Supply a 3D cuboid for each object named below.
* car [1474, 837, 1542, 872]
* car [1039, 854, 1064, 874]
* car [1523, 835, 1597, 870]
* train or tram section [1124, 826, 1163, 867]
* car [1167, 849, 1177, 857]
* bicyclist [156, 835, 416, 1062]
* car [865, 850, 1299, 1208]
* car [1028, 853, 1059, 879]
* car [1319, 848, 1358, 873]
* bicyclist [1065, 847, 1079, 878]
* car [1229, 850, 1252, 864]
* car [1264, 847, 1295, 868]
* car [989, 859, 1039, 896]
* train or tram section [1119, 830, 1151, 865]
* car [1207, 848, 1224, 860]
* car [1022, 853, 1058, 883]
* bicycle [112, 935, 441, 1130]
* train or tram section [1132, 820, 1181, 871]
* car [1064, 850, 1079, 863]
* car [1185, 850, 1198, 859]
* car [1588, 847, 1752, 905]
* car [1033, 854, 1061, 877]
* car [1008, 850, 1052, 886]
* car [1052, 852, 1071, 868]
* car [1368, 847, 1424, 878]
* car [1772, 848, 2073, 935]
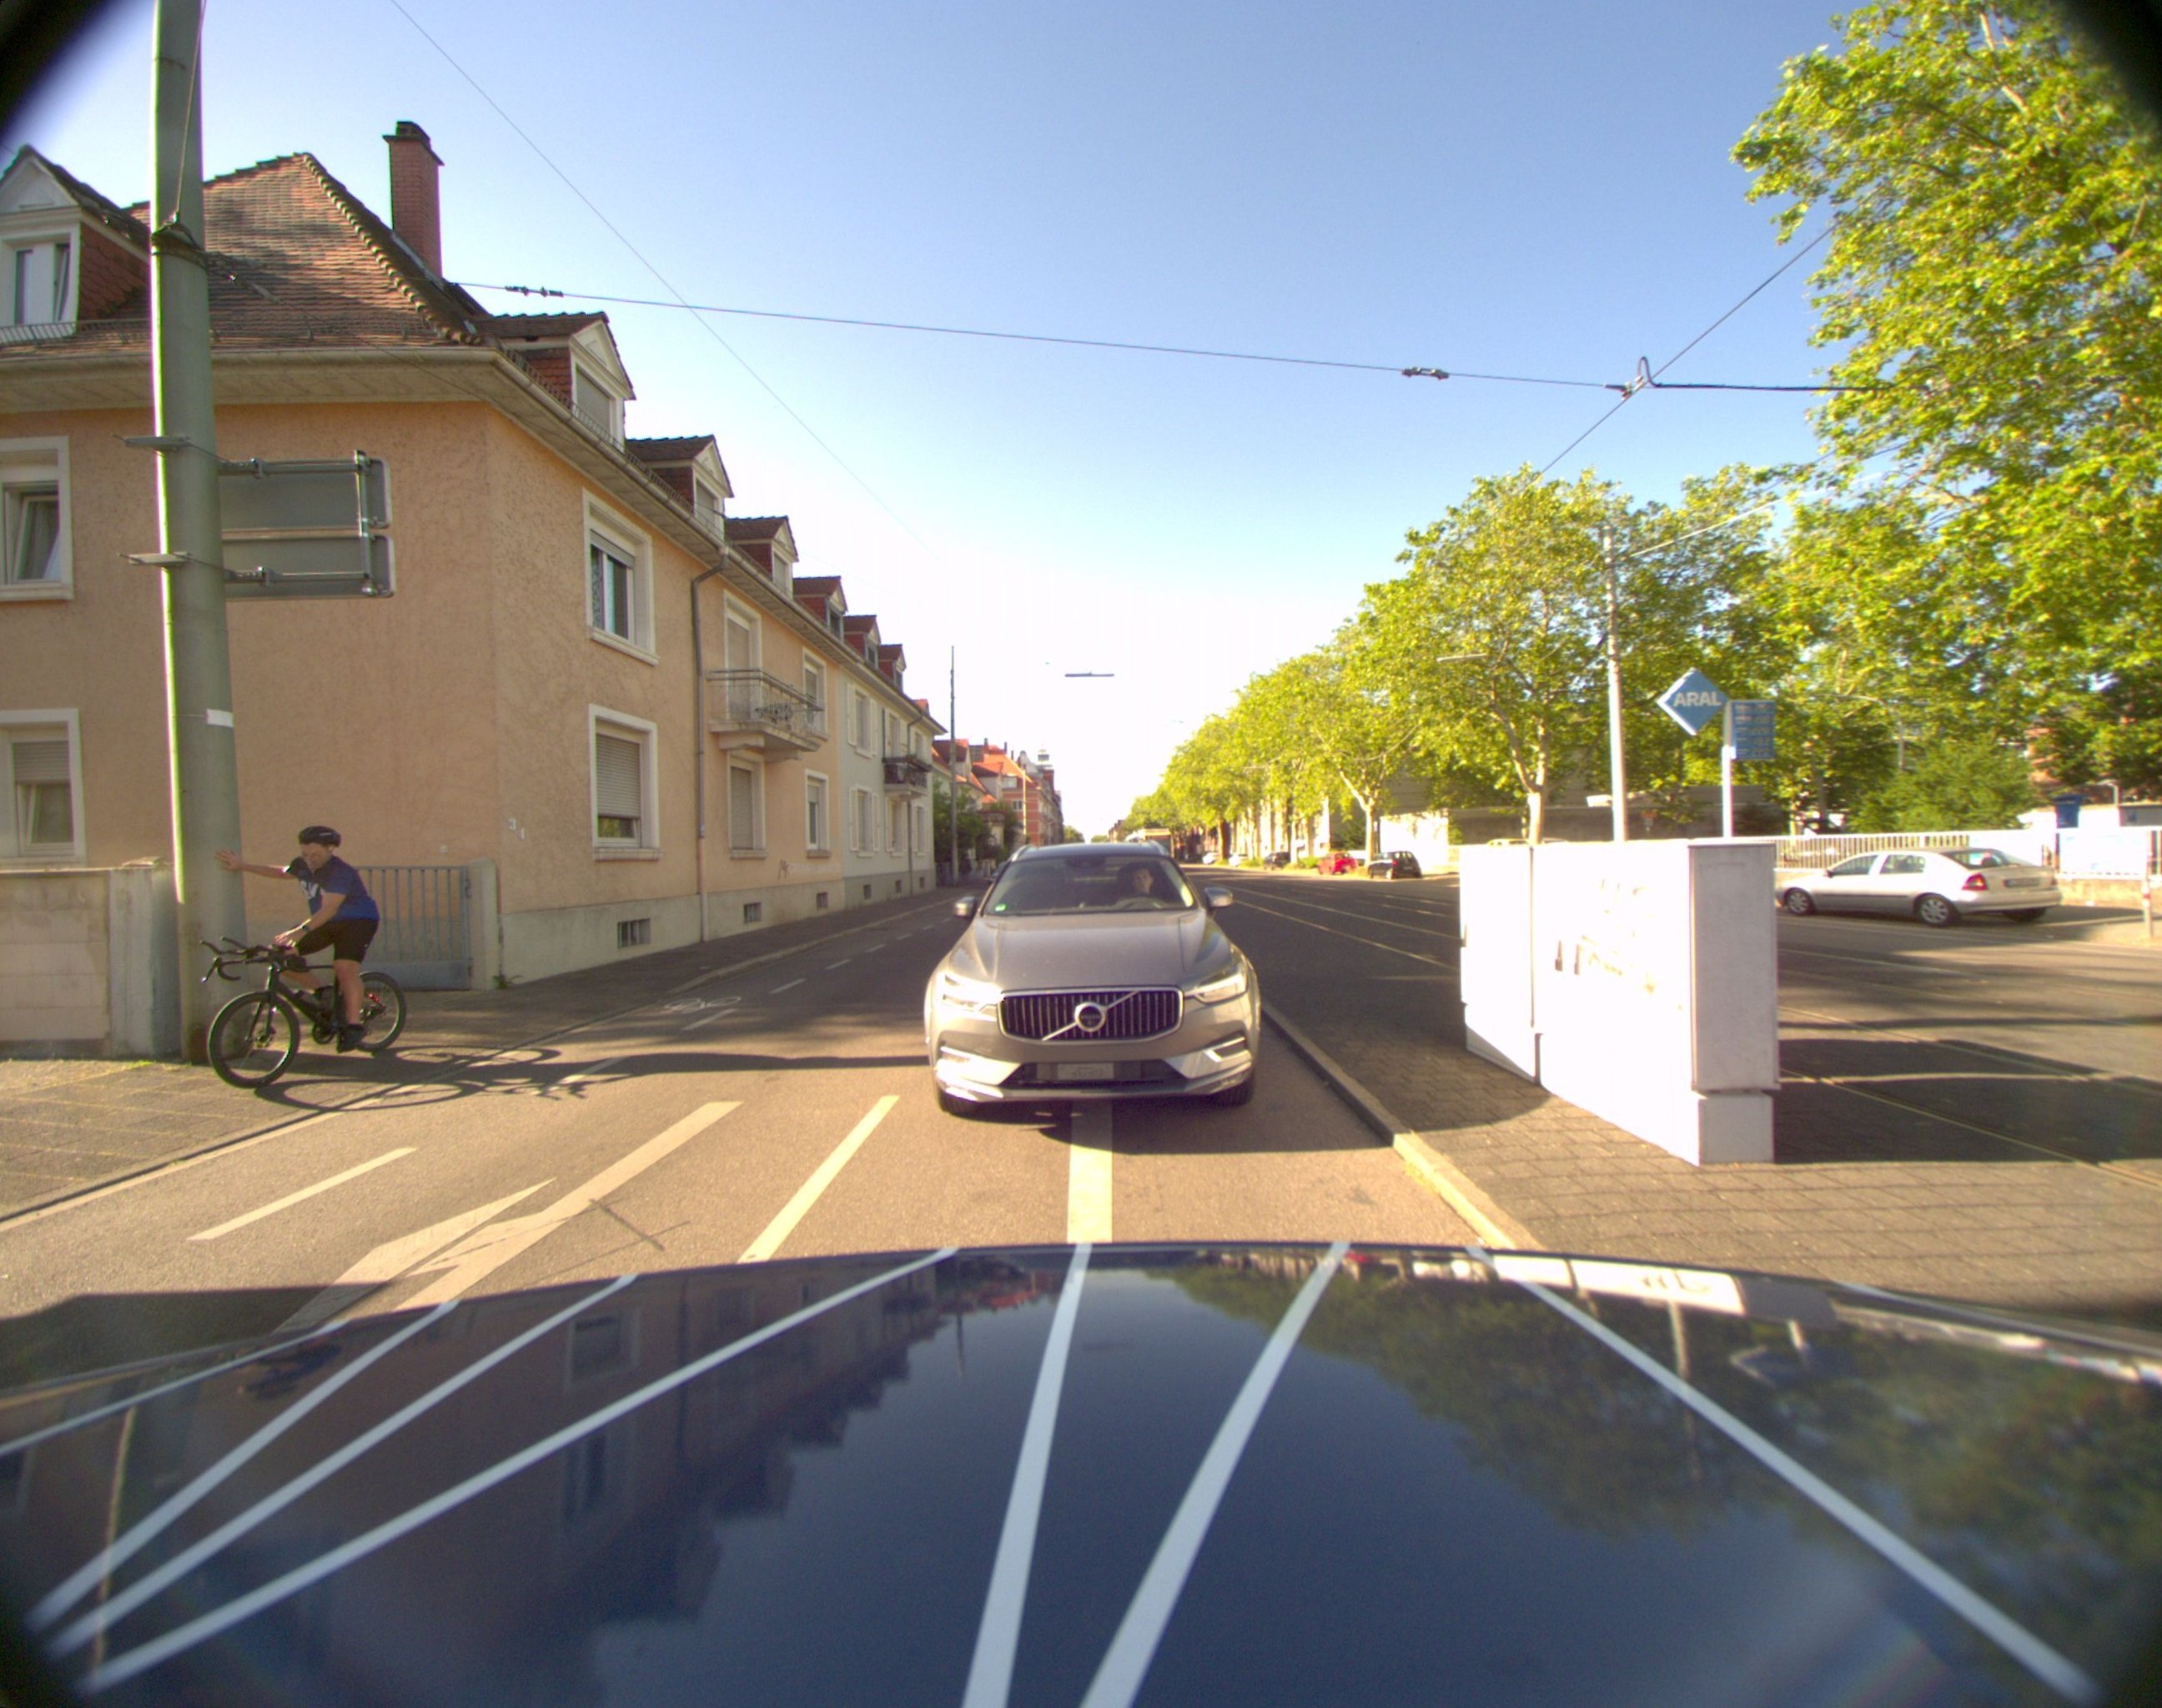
[{"bbox_3d":[21.555,0.013,38.482,1.599,1.606,3.304,-2,0,1],"label":"car"},{"bbox_3d":[-2.540,0.858,67.086,1.793,1.673,3.814,-3,0,2],"label":"car"},{"bbox_3d":[23.888,-0.083,38.034,1.599,1.583,3.304,-2,0,1],"label":"car"},{"bbox_3d":[5.903,-0.698,73.720,2.717,3.643,12.653,-1,0,0],"label":"train or tram section"},{"bbox_3d":[19.289,-0.199,161.886,1.695,1.440,3.749,-3,0,1],"label":"car"},{"bbox_3d":[-6.221,0.694,6.015,1.051,1.599,0.885,4,0,1],"label":"bicyclist"},{"bbox_3d":[0.036,0.827,5.764,1.998,1.628,4.306,-2,0,1],"label":"car"},{"bbox_3d":[-2.621,0.834,54.017,1.793,1.673,3.814,-3,0,2],"label":"car"},{"bbox_3d":[16.887,0.433,49.876,1.599,1.498,2.622,-3,0,1],"label":"car"},{"bbox_3d":[-0.471,0.439,41.121,0.685,1.611,0.855,-2,1,1],"label":"bicyclist"},{"bbox_3d":[17.476,0.290,83.553,1.695,1.440,3.749,-3,0,1],"label":"car"},{"bbox_3d":[17.149,0.272,65.899,1.695,1.648,3.749,-3,0,1],"label":"car"},{"bbox_3d":[-3.214,1.083,37.058,1.695,1.571,3.815,-3,0,5],"label":"car"},{"bbox_3d":[5.978,-0.753,86.386,2.717,3.643,12.653,-1,0,0],"label":"train or tram section"},{"bbox_3d":[17.808,0.023,100.724,1.695,1.440,3.749,-3,0,1],"label":"car"},{"bbox_3d":[-2.575,0.853,48.496,1.793,1.673,3.814,-3,0,2],"label":"car"},{"bbox_3d":[-6.024,1.266,5.872,0.592,1.062,1.775,4,0,1],"label":"bicycle"},{"bbox_3d":[5.855,-0.624,61.074,2.717,3.643,12.653,-1,0,0],"label":"train or tram section"},{"bbox_3d":[-1.278,0.362,107.114,1.793,1.673,3.814,-3,0,2],"label":"car"},{"bbox_3d":[18.216,0.068,125.532,1.695,1.440,3.749,-3,0,1],"label":"car"},{"bbox_3d":[16.418,0.559,21.426,1.695,1.395,3.749,-3,0,1],"label":"car"},{"bbox_3d":[-2.709,0.884,61.041,1.793,1.673,3.814,-3,0,2],"label":"car"},{"bbox_3d":[-2.815,0.740,42.831,1.793,1.828,5.149,-3,0,2],"label":"car"},{"bbox_3d":[-2.137,0.633,85.381,1.793,1.673,3.814,-3,0,2],"label":"car"},{"bbox_3d":[16.894,0.425,40.905,1.599,1.498,3.304,-3,0,1],"label":"car"},{"bbox_3d":[16.233,0.640,14.991,1.695,1.395,3.813,-3,0,1],"label":"car"}]
